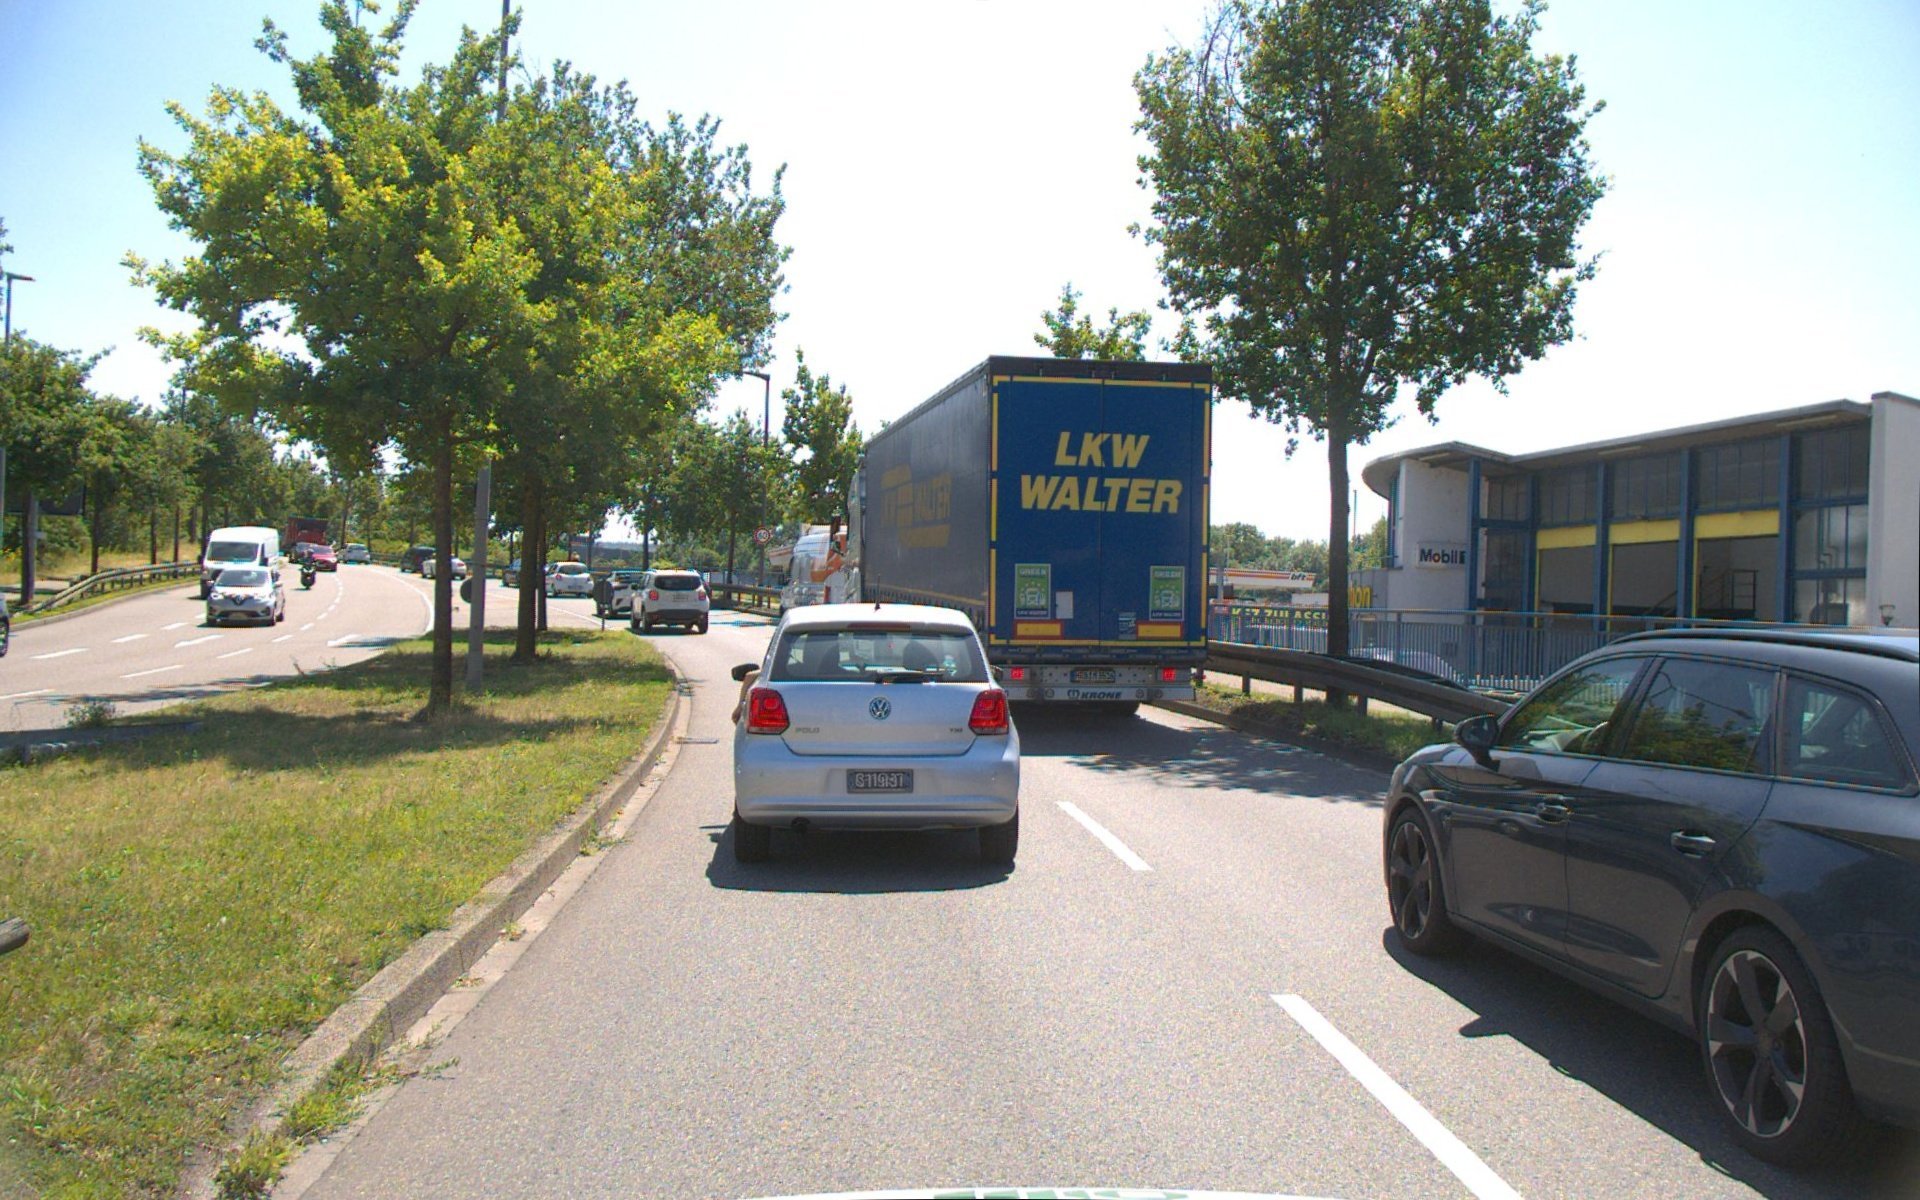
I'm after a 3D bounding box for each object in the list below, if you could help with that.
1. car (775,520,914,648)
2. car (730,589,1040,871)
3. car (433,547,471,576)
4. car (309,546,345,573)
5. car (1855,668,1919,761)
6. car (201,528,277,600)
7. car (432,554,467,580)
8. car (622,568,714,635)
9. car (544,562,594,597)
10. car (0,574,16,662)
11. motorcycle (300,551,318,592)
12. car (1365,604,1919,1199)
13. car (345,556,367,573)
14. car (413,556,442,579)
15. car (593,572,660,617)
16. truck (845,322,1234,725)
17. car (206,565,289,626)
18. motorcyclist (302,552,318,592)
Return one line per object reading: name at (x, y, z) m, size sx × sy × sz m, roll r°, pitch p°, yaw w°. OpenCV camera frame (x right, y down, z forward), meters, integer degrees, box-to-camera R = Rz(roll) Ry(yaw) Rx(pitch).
car at (-3.049, -0.459, 42.010) m, size 2.141 × 2.951 × 6.329 m, roll 2°, pitch 1°, yaw -17°
car at (-0.481, 0.699, 10.522) m, size 1.613 × 1.464 × 3.535 m, roll 1°, pitch 0°, yaw -3°
car at (-28.288, -2.144, 92.066) m, size 1.643 × 1.490 × 3.555 m, roll 1°, pitch 0°, yaw -23°
car at (-37.212, -2.375, 97.296) m, size 1.803 × 1.462 × 4.501 m, roll -1°, pitch 0°, yaw -19°
car at (17.006, 1.877, 26.155) m, size 4.969 × 1.381 × 1.997 m, roll 1°, pitch 0°, yaw 28°
car at (-26.781, -1.363, 61.590) m, size 2.062 × 2.544 × 5.779 m, roll 0°, pitch 2°, yaw -19°
car at (-28.423, -1.813, 92.002) m, size 1.437 × 1.337 × 3.611 m, roll 1°, pitch 0°, yaw -23°
car at (-8.213, 0.042, 46.225) m, size 1.875 × 1.748 × 4.200 m, roll 1°, pitch 0°, yaw -19°
car at (-16.693, -0.881, 70.530) m, size 1.585 × 1.383 × 3.639 m, roll 1°, pitch 0°, yaw -21°
car at (-18.508, 0.320, 29.674) m, size 1.463 × 1.661 × 4.457 m, roll 2°, pitch 0°, yaw -13°
motorcycle at (-27.919, -1.207, 70.986) m, size 0.588 × 1.707 × 2.411 m, roll 1°, pitch 0°, yaw -19°
car at (2.907, 0.773, 5.684) m, size 1.574 × 1.481 × 4.229 m, roll 1°, pitch 0°, yaw -6°
car at (-44.042, -2.593, 120.619) m, size 1.304 × 1.158 × 2.972 m, roll 1°, pitch 0°, yaw -24°
car at (-32.985, -1.998, 102.409) m, size 1.399 × 1.337 × 3.313 m, roll 1°, pitch 0°, yaw -23°
car at (-10.859, -0.200, 53.702) m, size 1.474 × 1.383 × 3.638 m, roll 1°, pitch 0°, yaw -22°
truck at (0.320, -0.881, 26.000) m, size 2.781 × 4.271 × 16.440 m, roll 1°, pitch 0°, yaw -9°
car at (-19.617, -0.106, 45.672) m, size 1.608 × 1.594 × 4.054 m, roll 0°, pitch 0°, yaw -16°
motorcyclist at (-27.935, -1.198, 71.045) m, size 0.578 × 1.655 × 0.559 m, roll 1°, pitch -1°, yaw -19°
